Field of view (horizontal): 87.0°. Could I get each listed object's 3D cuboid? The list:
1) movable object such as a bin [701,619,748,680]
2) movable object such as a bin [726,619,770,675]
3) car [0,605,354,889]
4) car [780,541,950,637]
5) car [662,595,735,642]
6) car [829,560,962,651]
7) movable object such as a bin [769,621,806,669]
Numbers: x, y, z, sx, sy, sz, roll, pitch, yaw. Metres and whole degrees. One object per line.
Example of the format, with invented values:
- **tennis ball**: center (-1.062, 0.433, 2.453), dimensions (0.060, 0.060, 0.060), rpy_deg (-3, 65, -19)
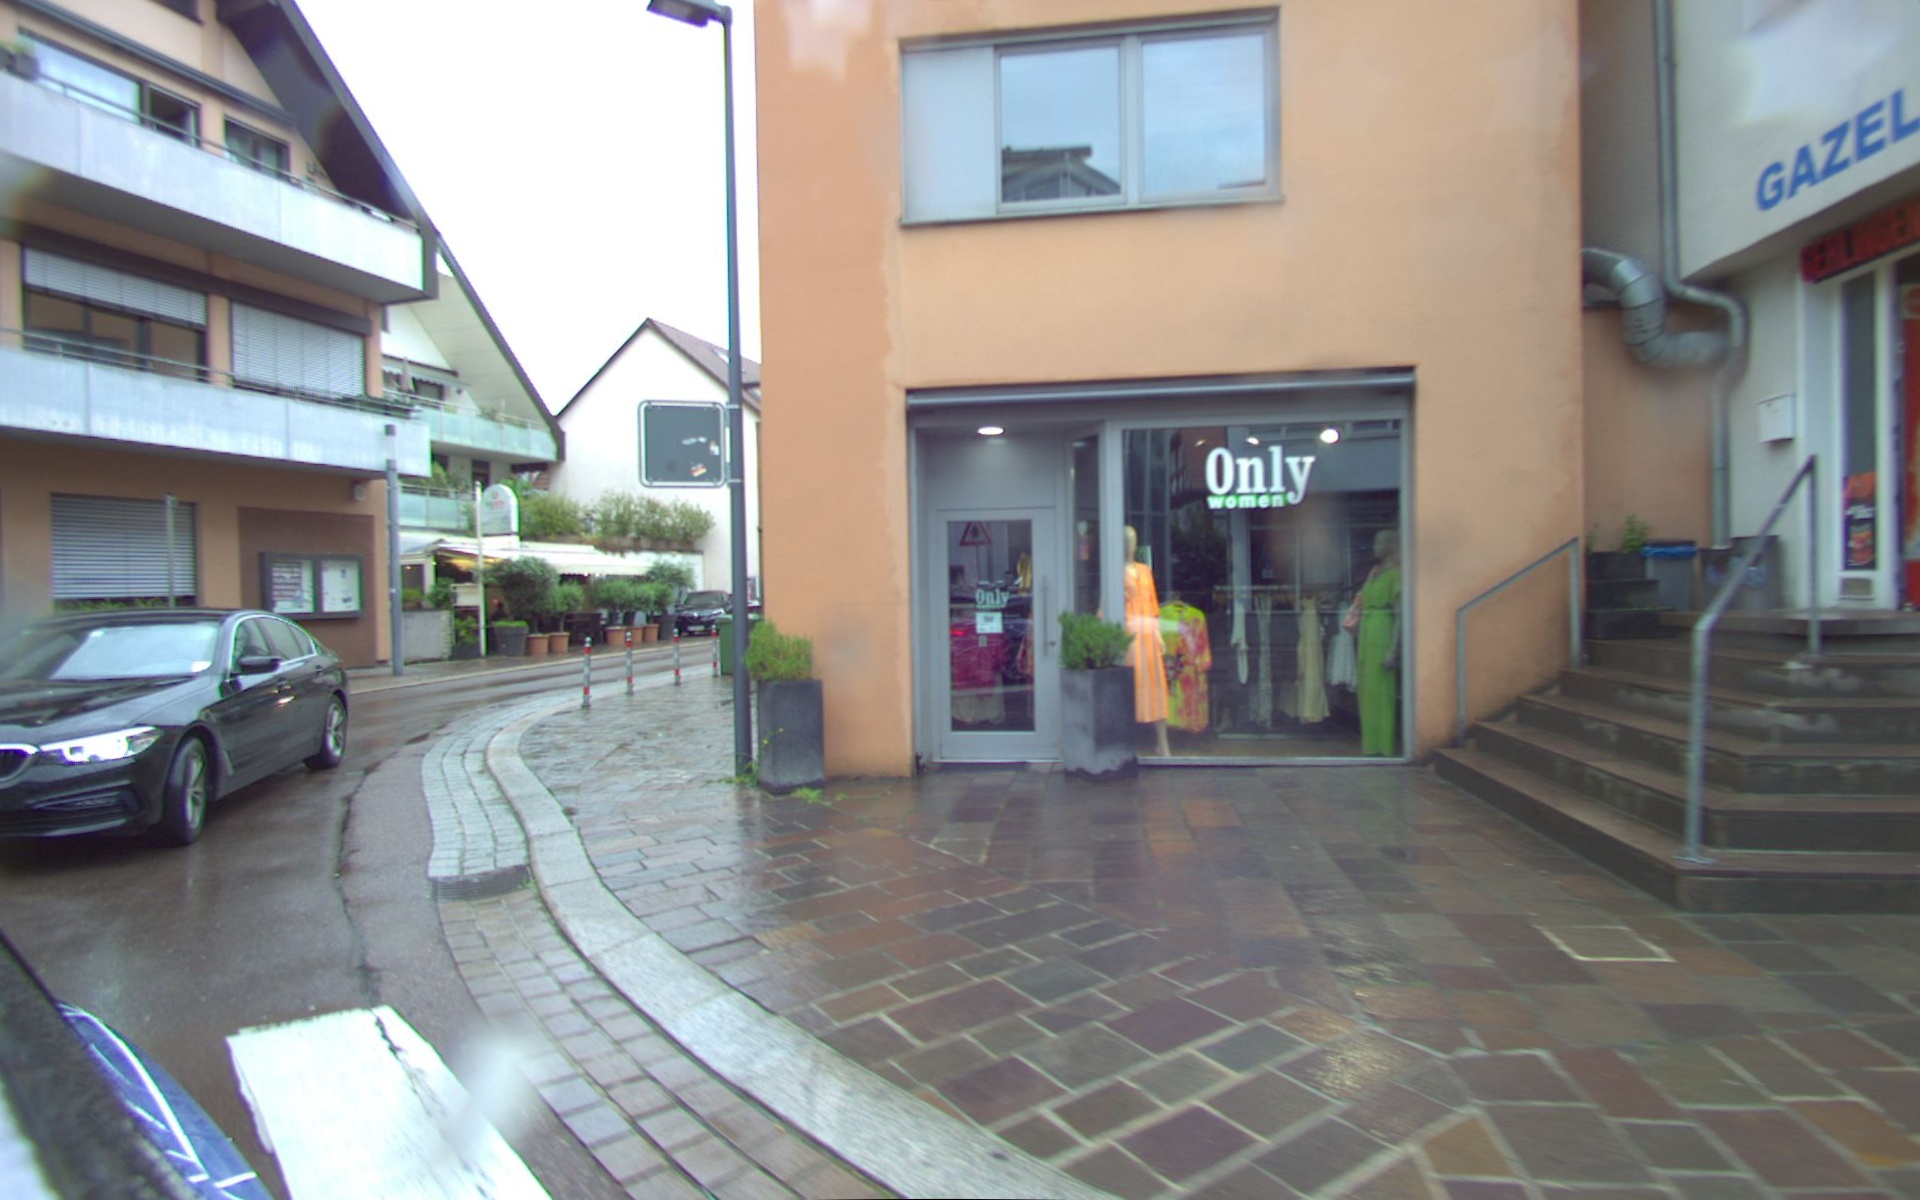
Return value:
- **movable object such as a bin**: center (-4.245, 0.886, 18.265), dimensions (0.651, 1.044, 0.609), rpy_deg (-1, 1, 7)
- **movable object such as a bin**: center (-4.080, 0.896, 19.500), dimensions (0.651, 1.044, 0.609), rpy_deg (-1, 1, 7)
- **car**: center (-6.060, 0.792, 7.241), dimensions (1.915, 1.413, 4.433), rpy_deg (-1, 1, -17)
- **car**: center (-3.021, -0.336, 35.566), dimensions (2.689, 2.895, 8.792), rpy_deg (-2, 0, 18)
- **car**: center (-8.340, 0.543, 32.593), dimensions (1.712, 1.367, 3.942), rpy_deg (-1, 1, -6)
- **car**: center (-1.628, 0.106, 28.230), dimensions (1.981, 2.256, 5.834), rpy_deg (-1, 1, 14)
- **movable object such as a bin**: center (-3.500, 0.917, 20.542), dimensions (0.578, 0.934, 0.479), rpy_deg (-2, 0, 17)
